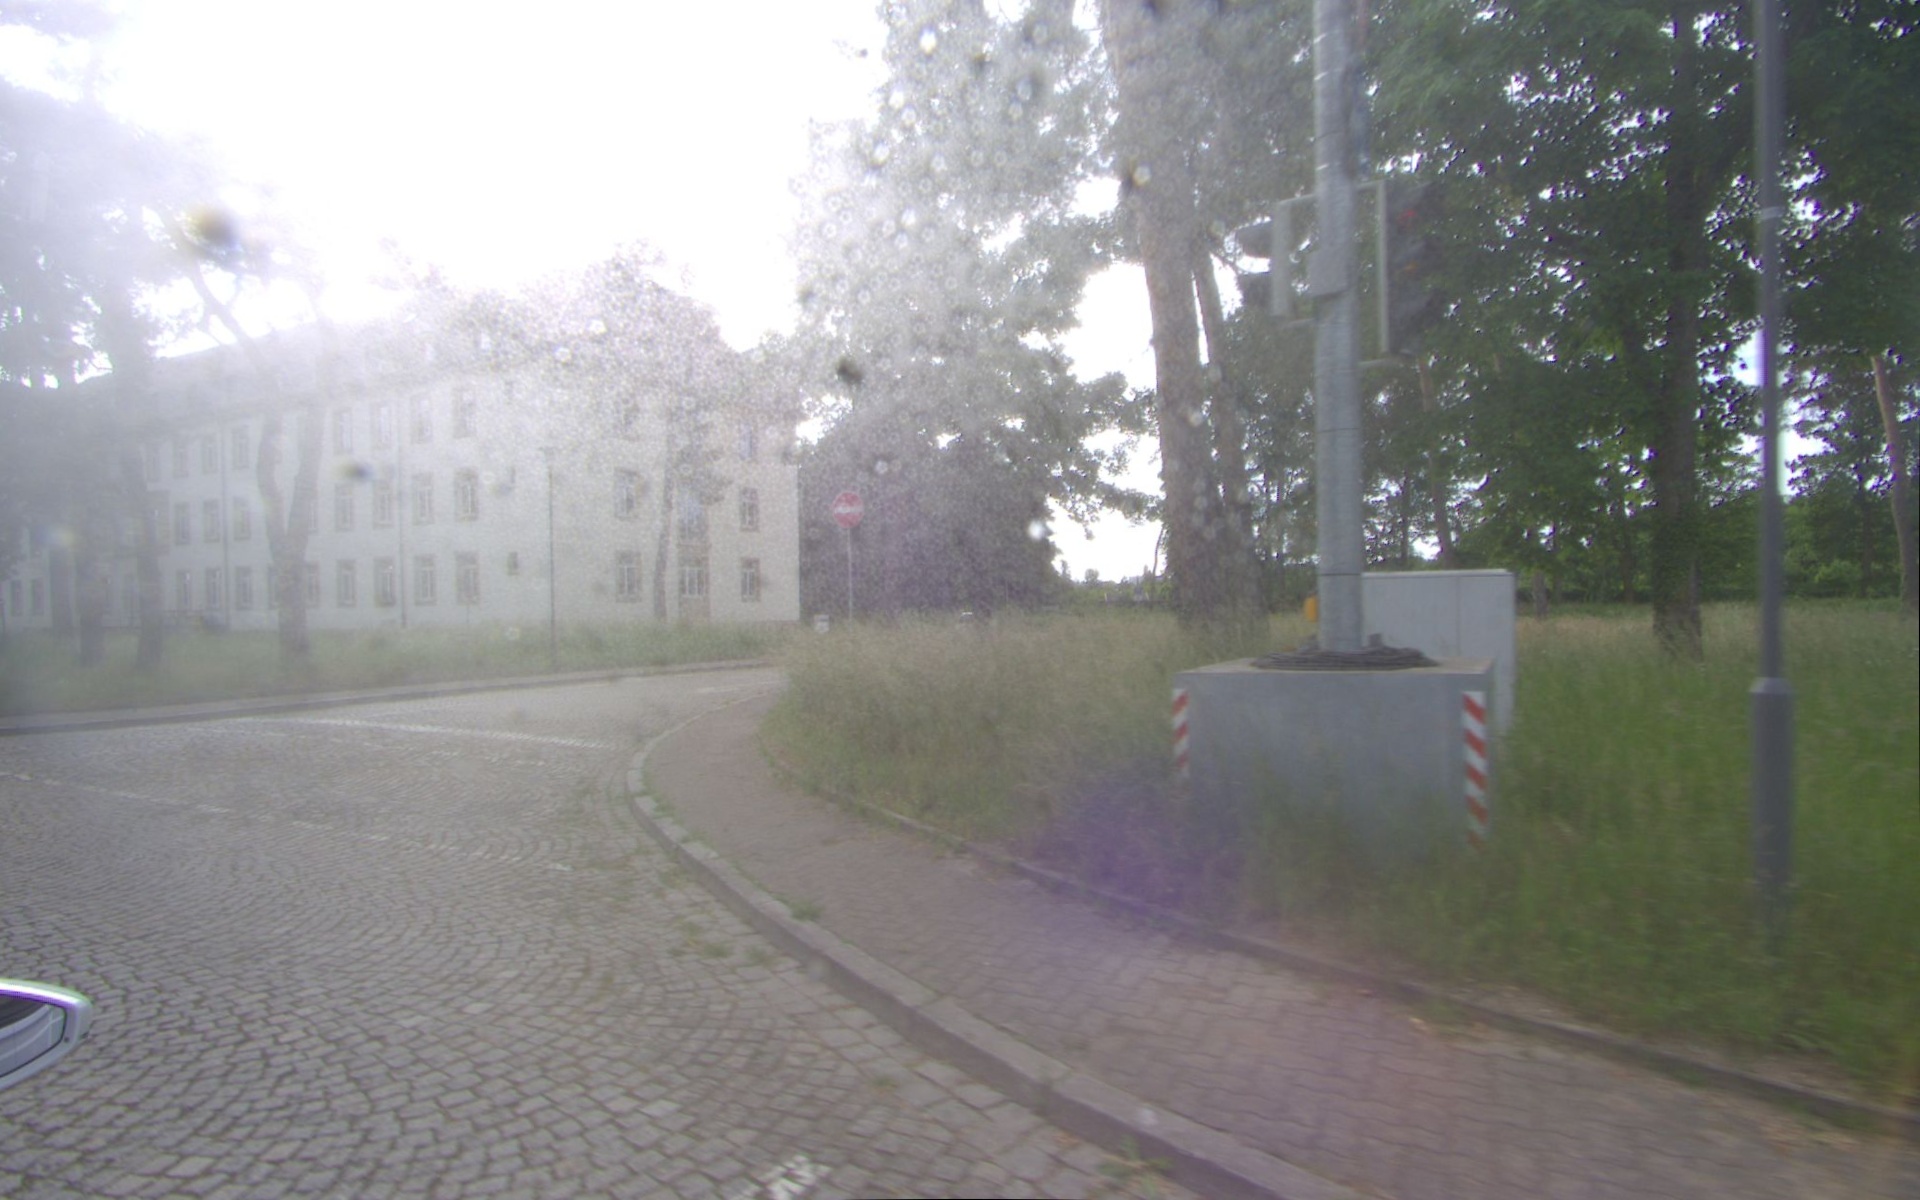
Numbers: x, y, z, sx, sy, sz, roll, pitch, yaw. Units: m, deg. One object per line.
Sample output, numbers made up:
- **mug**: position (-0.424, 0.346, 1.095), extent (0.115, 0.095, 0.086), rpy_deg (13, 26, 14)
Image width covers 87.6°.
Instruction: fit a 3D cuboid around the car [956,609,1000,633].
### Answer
- **car**: position (1.137, 1.345, 62.971), extent (1.466, 1.455, 3.182), rpy_deg (-1, -2, 29)
